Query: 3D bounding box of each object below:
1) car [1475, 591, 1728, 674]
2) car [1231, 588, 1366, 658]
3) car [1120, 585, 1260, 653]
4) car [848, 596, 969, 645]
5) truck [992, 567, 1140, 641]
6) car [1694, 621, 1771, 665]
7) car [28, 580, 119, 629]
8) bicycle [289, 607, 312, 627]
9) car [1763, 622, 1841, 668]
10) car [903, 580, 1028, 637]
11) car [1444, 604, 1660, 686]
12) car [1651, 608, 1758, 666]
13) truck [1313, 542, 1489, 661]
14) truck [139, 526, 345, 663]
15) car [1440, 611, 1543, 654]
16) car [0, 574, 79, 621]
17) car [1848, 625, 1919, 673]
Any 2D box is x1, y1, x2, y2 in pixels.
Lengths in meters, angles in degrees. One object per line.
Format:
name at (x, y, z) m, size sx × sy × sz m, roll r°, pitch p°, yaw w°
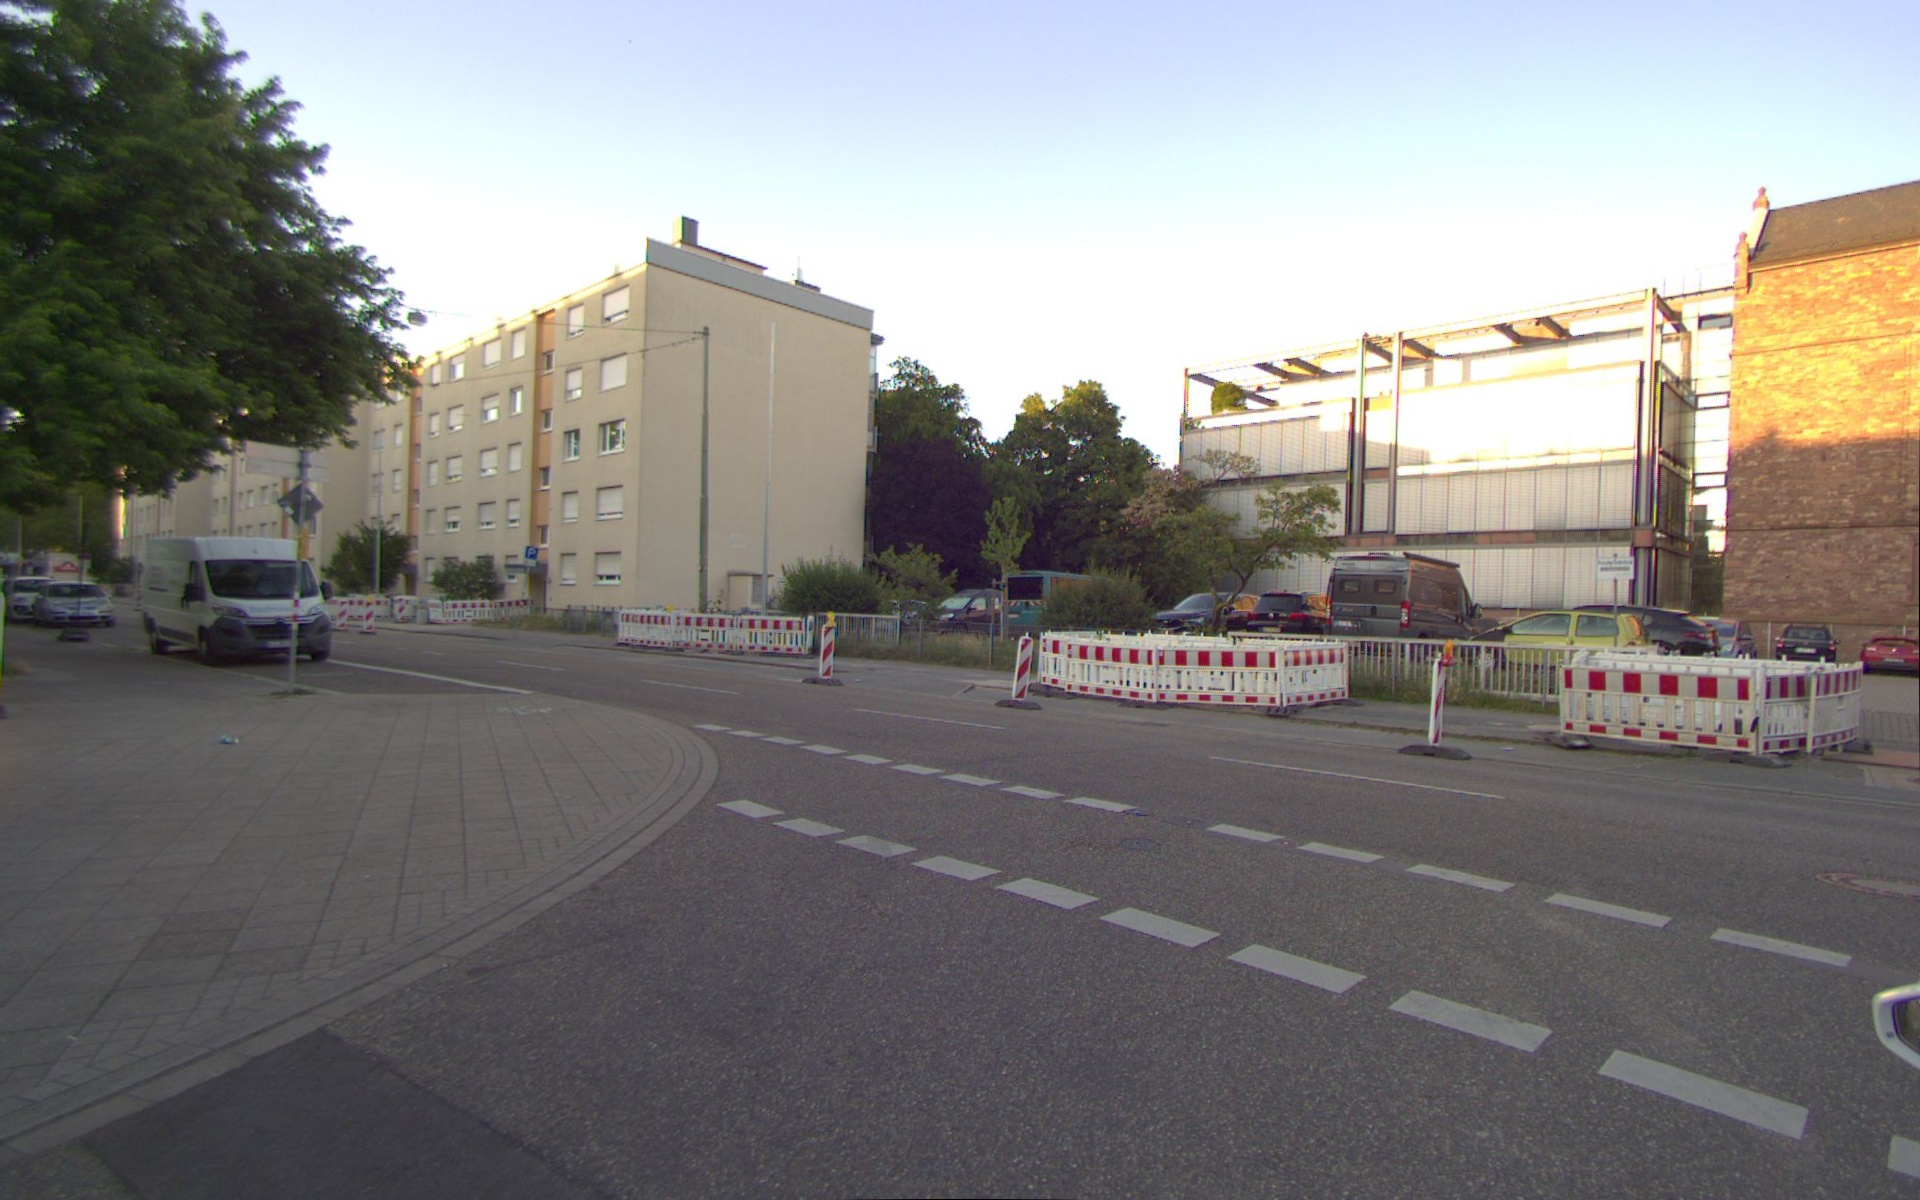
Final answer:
car at (14.238, 0.658, 22.514) m, size 1.564 × 1.660 × 4.539 m, roll 2°, pitch -1°, yaw -43°
car at (9.123, 0.595, 26.897) m, size 1.972 × 1.715 × 3.978 m, roll 1°, pitch 0°, yaw 43°
car at (6.538, 0.524, 28.233) m, size 1.972 × 1.750 × 4.277 m, roll 1°, pitch 0°, yaw 42°
car at (-1.847, 0.763, 36.791) m, size 1.973 × 1.669 × 4.201 m, roll 1°, pitch -1°, yaw 44°
truck at (3.349, 0.154, 31.142) m, size 4.479 × 2.118 × 2.086 m, roll 2°, pitch -1°, yaw -42°
car at (30.259, 1.652, 39.301) m, size 1.877 × 1.558 × 4.152 m, roll 1°, pitch 0°, yaw 45°
car at (-29.317, 0.105, 33.186) m, size 3.870 × 1.503 × 1.753 m, roll 1°, pitch 2°, yaw 41°
bicycle at (-39.547, 1.001, 60.225) m, size 2.203 × 1.121 × 0.615 m, roll 1°, pitch 0°, yaw 43°
car at (31.708, 1.661, 37.793) m, size 1.877 × 1.558 × 4.152 m, roll 1°, pitch 0°, yaw 45°
car at (0.243, 0.313, 35.066) m, size 1.973 × 1.850 × 4.201 m, roll 1°, pitch -1°, yaw 44°
car at (12.370, 0.882, 21.121) m, size 1.626 × 1.524 × 3.596 m, roll 2°, pitch -1°, yaw -43°
car at (22.559, 1.087, 30.368) m, size 1.973 × 1.597 × 4.337 m, roll 1°, pitch 0°, yaw 45°
truck at (11.021, 0.074, 24.930) m, size 4.940 × 2.652 × 2.310 m, roll 2°, pitch 0°, yaw -45°
truck at (-14.934, -0.137, 20.723) m, size 5.955 × 2.455 × 2.098 m, roll 1°, pitch 1°, yaw 41°
car at (18.068, 1.088, 34.065) m, size 1.920 × 1.323 × 4.337 m, roll 1°, pitch 0°, yaw 45°
car at (-33.659, -0.112, 36.667) m, size 3.870 × 1.625 × 1.753 m, roll 1°, pitch 2°, yaw 41°
car at (33.203, 1.726, 35.938) m, size 1.877 × 1.558 × 4.152 m, roll 1°, pitch 0°, yaw 45°
